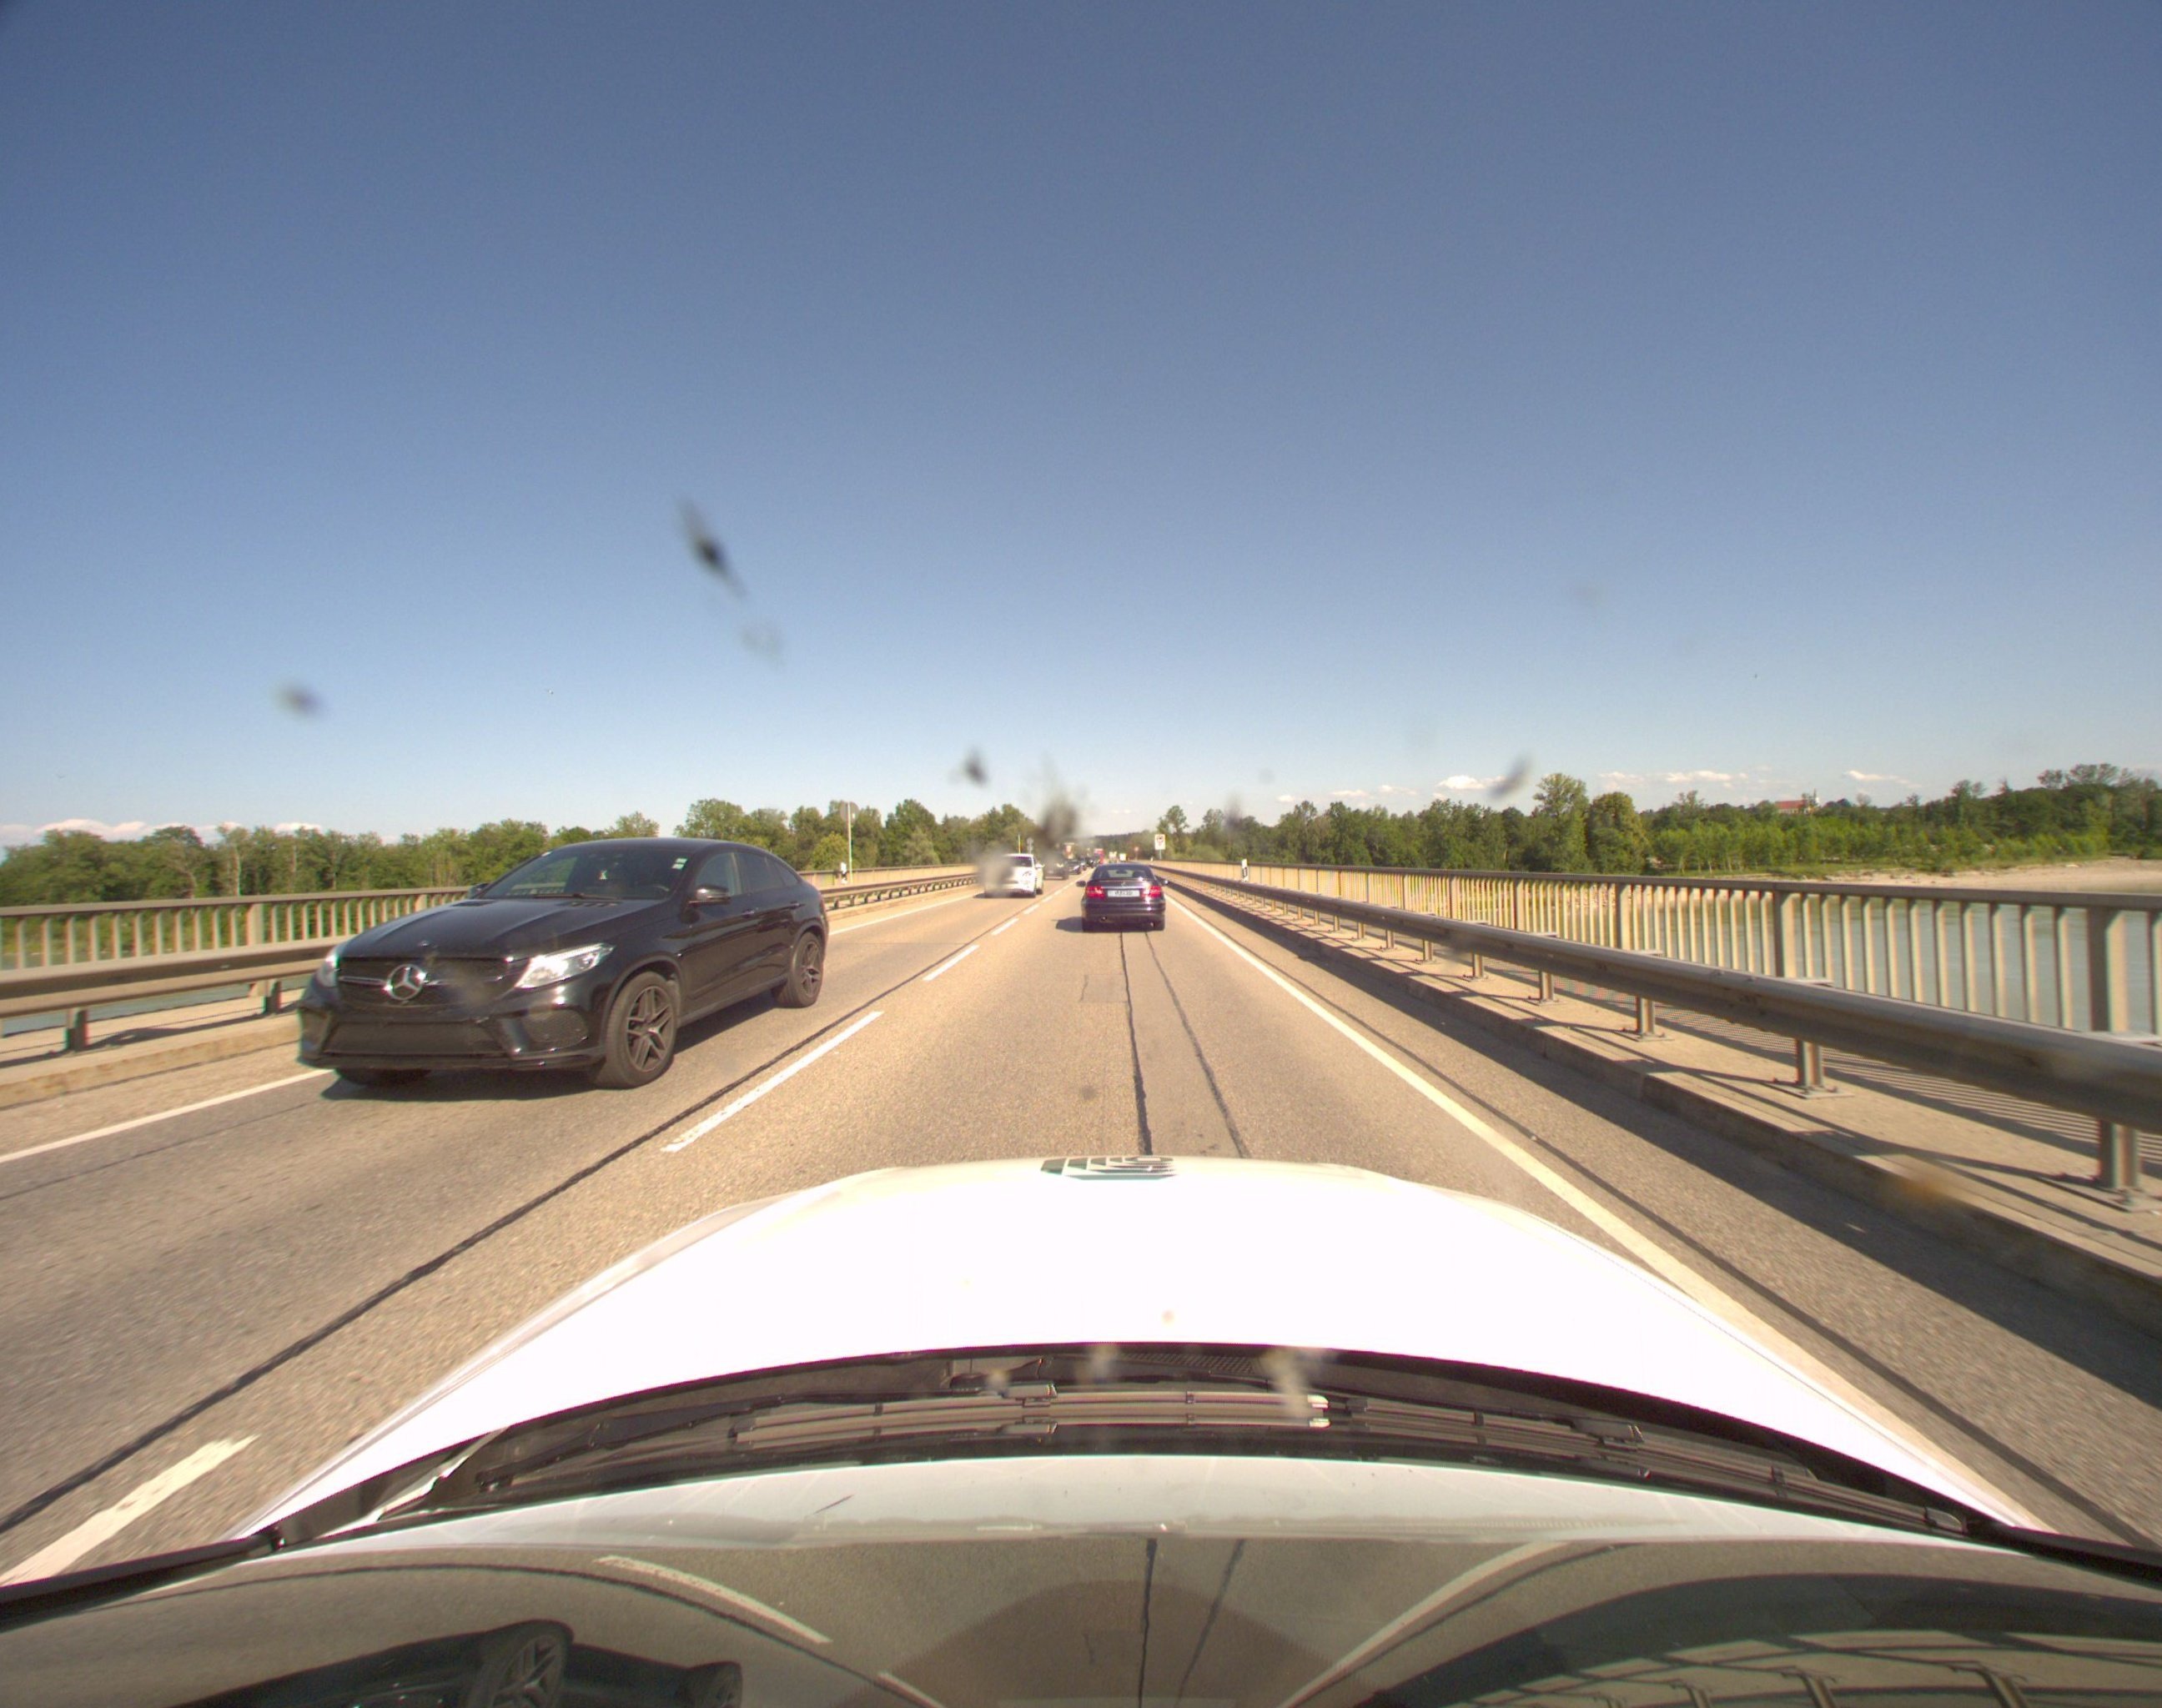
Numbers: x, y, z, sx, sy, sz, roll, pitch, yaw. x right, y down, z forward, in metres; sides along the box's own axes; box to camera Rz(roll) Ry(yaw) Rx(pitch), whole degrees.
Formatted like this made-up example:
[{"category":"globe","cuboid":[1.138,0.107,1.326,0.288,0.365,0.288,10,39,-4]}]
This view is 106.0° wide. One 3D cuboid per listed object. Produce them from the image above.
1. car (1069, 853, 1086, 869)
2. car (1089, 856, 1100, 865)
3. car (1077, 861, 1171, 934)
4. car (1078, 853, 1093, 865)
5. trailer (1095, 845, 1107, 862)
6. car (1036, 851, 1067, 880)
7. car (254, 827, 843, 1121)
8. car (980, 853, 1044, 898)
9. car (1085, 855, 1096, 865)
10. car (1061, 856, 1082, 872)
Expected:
[{"category":"car","cuboid":[-0.393,0.831,96.372,1.848,1.722,4.566,2,0,1]},{"category":"car","cuboid":[2.387,1.126,148.212,1.869,1.583,4.272,1,1,-1]},{"category":"car","cuboid":[0.913,0.859,17.778,1.786,1.376,4.002,-1,0,2]},{"category":"car","cuboid":[0.683,0.748,120.193,2.048,1.652,4.719,1,0,-1]},{"category":"trailer","cuboid":[5.558,-0.013,218.860,2.896,4.302,14.308,2,0,2]},{"category":"car","cuboid":[-1.978,0.767,56.049,2.031,1.873,5.067,1,0,-1]},{"category":"car","cuboid":[-3.774,0.713,6.989,1.941,1.694,4.480,-1,0,3]},{"category":"car","cuboid":[-2.626,0.776,31.986,1.976,1.651,4.600,0,0,2]},{"category":"car","cuboid":[1.589,1.045,136.836,1.801,1.577,4.199,2,0,-1]},{"category":"car","cuboid":[-0.886,0.886,73.783,1.760,1.447,4.454,-1,0,-1]}]
